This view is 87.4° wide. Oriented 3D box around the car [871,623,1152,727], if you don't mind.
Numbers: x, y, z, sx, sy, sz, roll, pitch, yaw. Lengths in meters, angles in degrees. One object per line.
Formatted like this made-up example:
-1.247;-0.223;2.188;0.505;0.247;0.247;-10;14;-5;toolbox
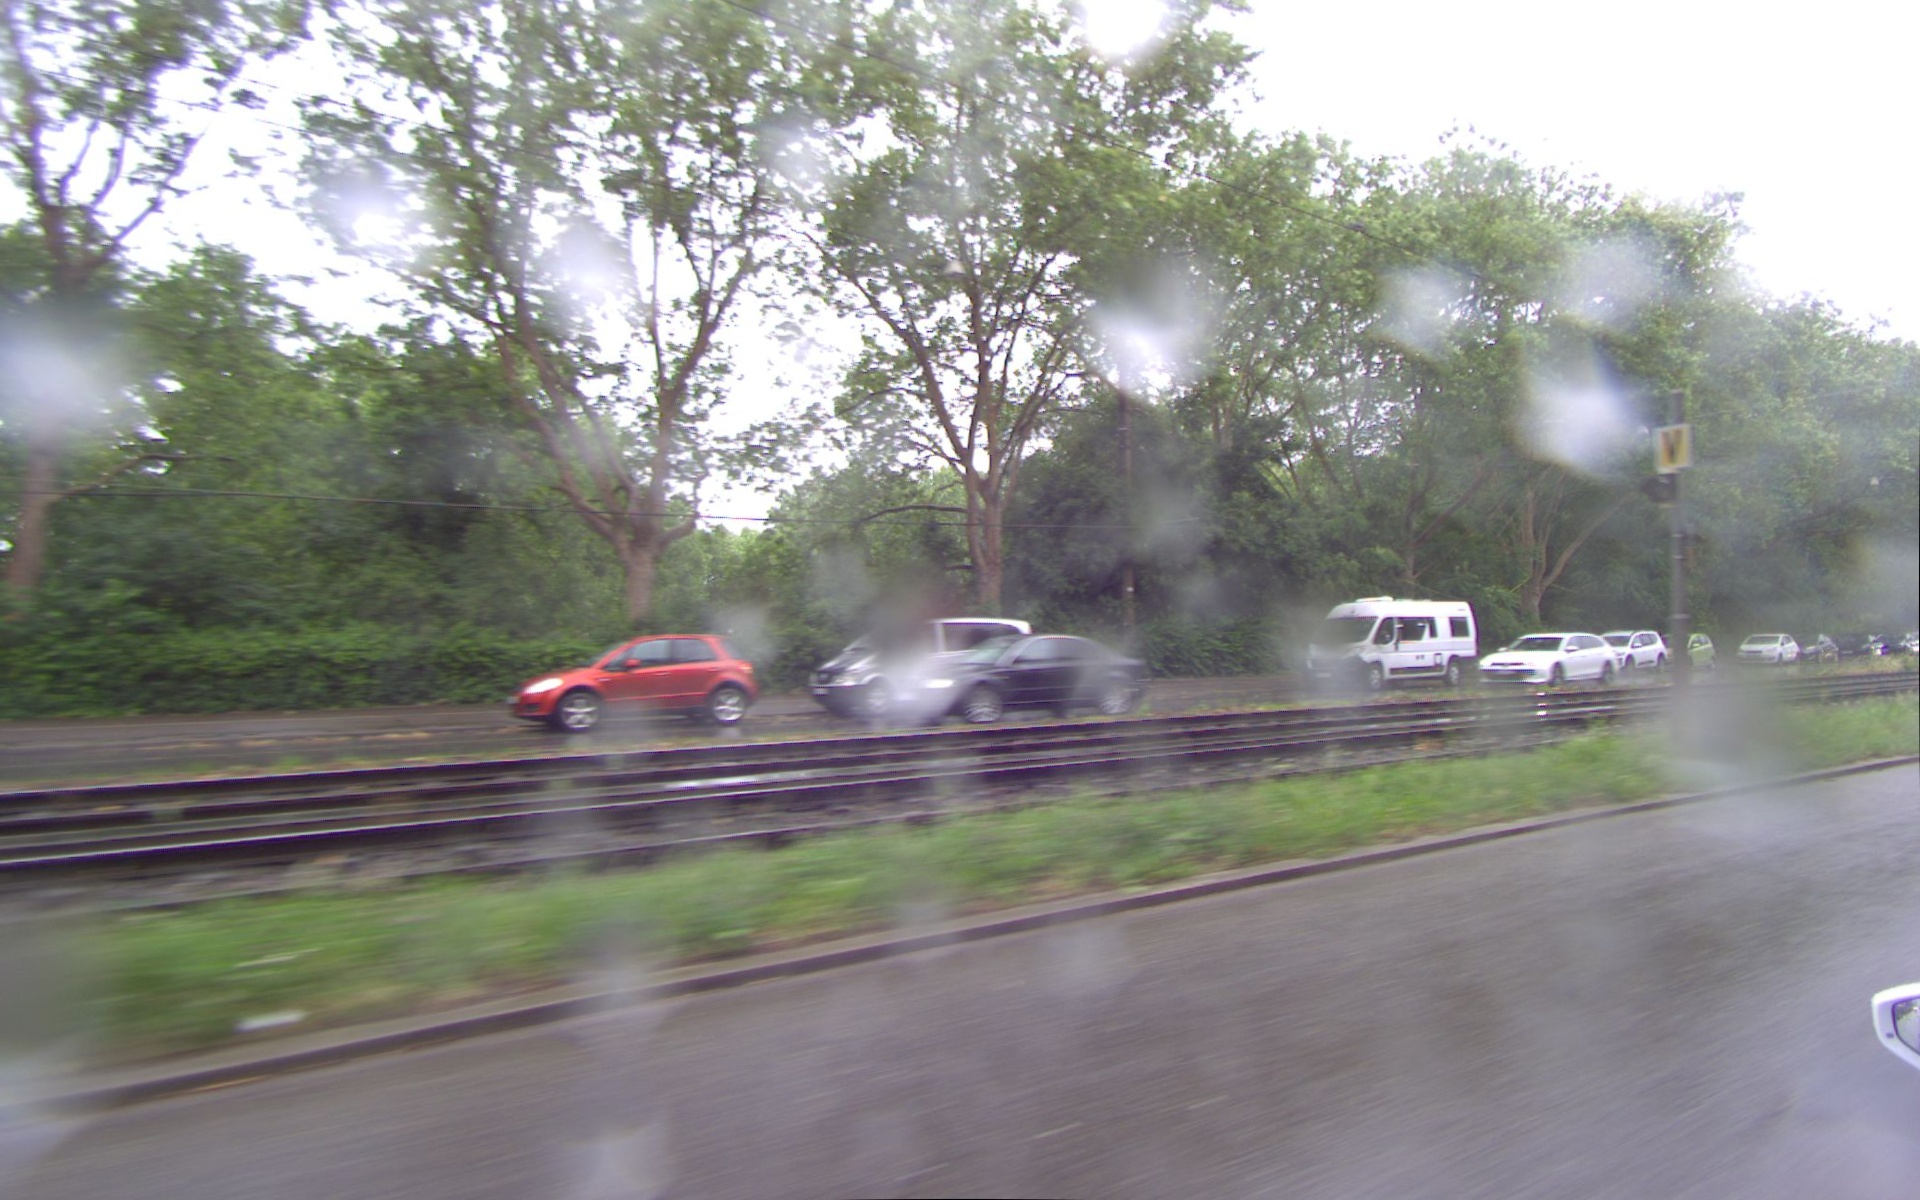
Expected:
0.935;1.215;17.285;4.517;1.572;2.022;1;-3;-33;car

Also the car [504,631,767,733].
-5.522;1.329;17.242;3.981;1.572;1.808;1;-3;-33;car

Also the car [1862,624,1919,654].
54.717;2.258;58.706;4.563;1.679;2.018;1;-1;-35;car

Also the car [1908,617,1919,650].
63.316;2.156;65.005;4.758;2.120;2.018;1;-3;-37;car

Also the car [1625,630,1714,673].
29.085;2.078;41.151;3.775;1.670;1.750;1;-3;-35;car

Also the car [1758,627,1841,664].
42.210;2.255;50.474;4.647;1.774;2.019;1;-3;-35;car

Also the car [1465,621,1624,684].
16.188;1.421;27.743;4.719;1.587;1.966;1;-3;-34;car

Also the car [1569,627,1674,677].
24.753;1.918;37.535;4.486;1.750;1.739;1;-3;-35;car

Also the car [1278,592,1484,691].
12.285;1.201;29.107;6.500;2.574;2.375;1;-3;-35;car

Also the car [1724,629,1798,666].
38.090;2.246;47.751;3.775;1.670;1.750;1;-3;-35;car

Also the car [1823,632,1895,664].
49.246;2.617;54.999;4.566;1.679;2.018;1;-2;-36;car

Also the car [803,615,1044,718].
-0.700;1.296;20.522;4.591;1.886;1.946;1;-3;-33;car
